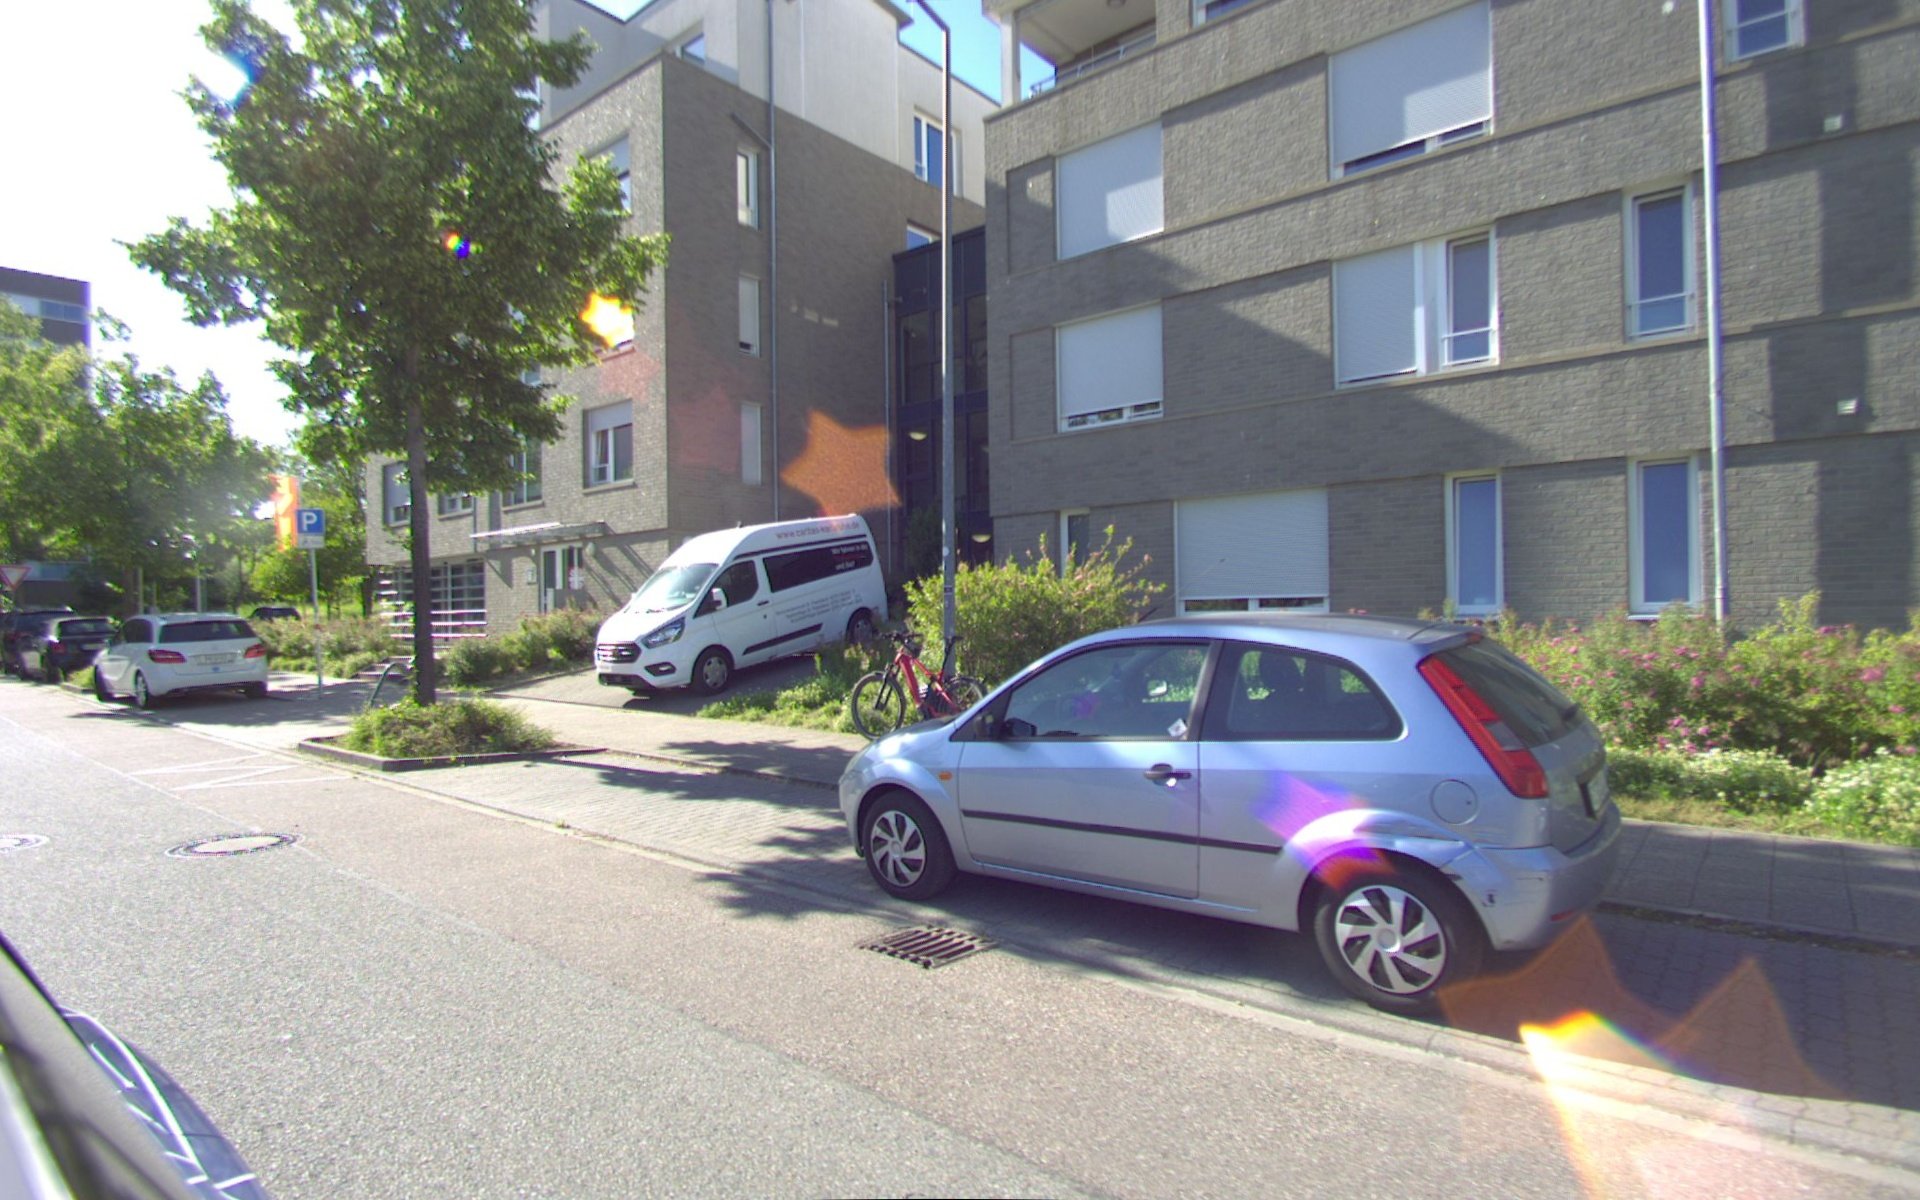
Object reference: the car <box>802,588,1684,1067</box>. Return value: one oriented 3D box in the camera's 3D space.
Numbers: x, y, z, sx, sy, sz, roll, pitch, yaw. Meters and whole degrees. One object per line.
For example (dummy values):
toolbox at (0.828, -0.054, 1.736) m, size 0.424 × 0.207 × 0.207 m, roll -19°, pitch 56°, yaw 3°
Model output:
car at (1.126, 0.739, 4.982) m, size 3.870 × 1.476 × 1.595 m, roll -1°, pitch -1°, yaw 39°

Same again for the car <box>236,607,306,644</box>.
car at (-36.442, 1.312, 53.492) m, size 4.599 × 1.792 × 1.973 m, roll 0°, pitch 0°, yaw 41°

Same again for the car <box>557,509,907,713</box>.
car at (-3.387, -0.014, 16.355) m, size 1.918 × 2.399 × 5.401 m, roll -1°, pitch 7°, yaw 36°

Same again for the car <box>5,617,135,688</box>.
car at (-20.642, 1.178, 23.433) m, size 3.784 × 1.515 × 1.563 m, roll -2°, pitch -1°, yaw 37°

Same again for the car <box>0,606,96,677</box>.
car at (-24.929, 1.055, 27.273) m, size 4.337 × 1.631 × 1.867 m, roll 0°, pitch 3°, yaw 42°

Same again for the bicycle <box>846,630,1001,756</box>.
bicycle at (-0.407, 0.870, 10.021) m, size 0.280 × 1.133 × 1.986 m, roll 0°, pitch -1°, yaw -43°

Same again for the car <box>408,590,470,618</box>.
car at (-30.758, 0.208, 59.751) m, size 4.127 × 1.630 × 1.711 m, roll 0°, pitch 1°, yaw 39°

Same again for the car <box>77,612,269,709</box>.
car at (-14.075, 1.012, 18.026) m, size 4.279 × 1.544 × 1.644 m, roll -2°, pitch -1°, yaw 37°
